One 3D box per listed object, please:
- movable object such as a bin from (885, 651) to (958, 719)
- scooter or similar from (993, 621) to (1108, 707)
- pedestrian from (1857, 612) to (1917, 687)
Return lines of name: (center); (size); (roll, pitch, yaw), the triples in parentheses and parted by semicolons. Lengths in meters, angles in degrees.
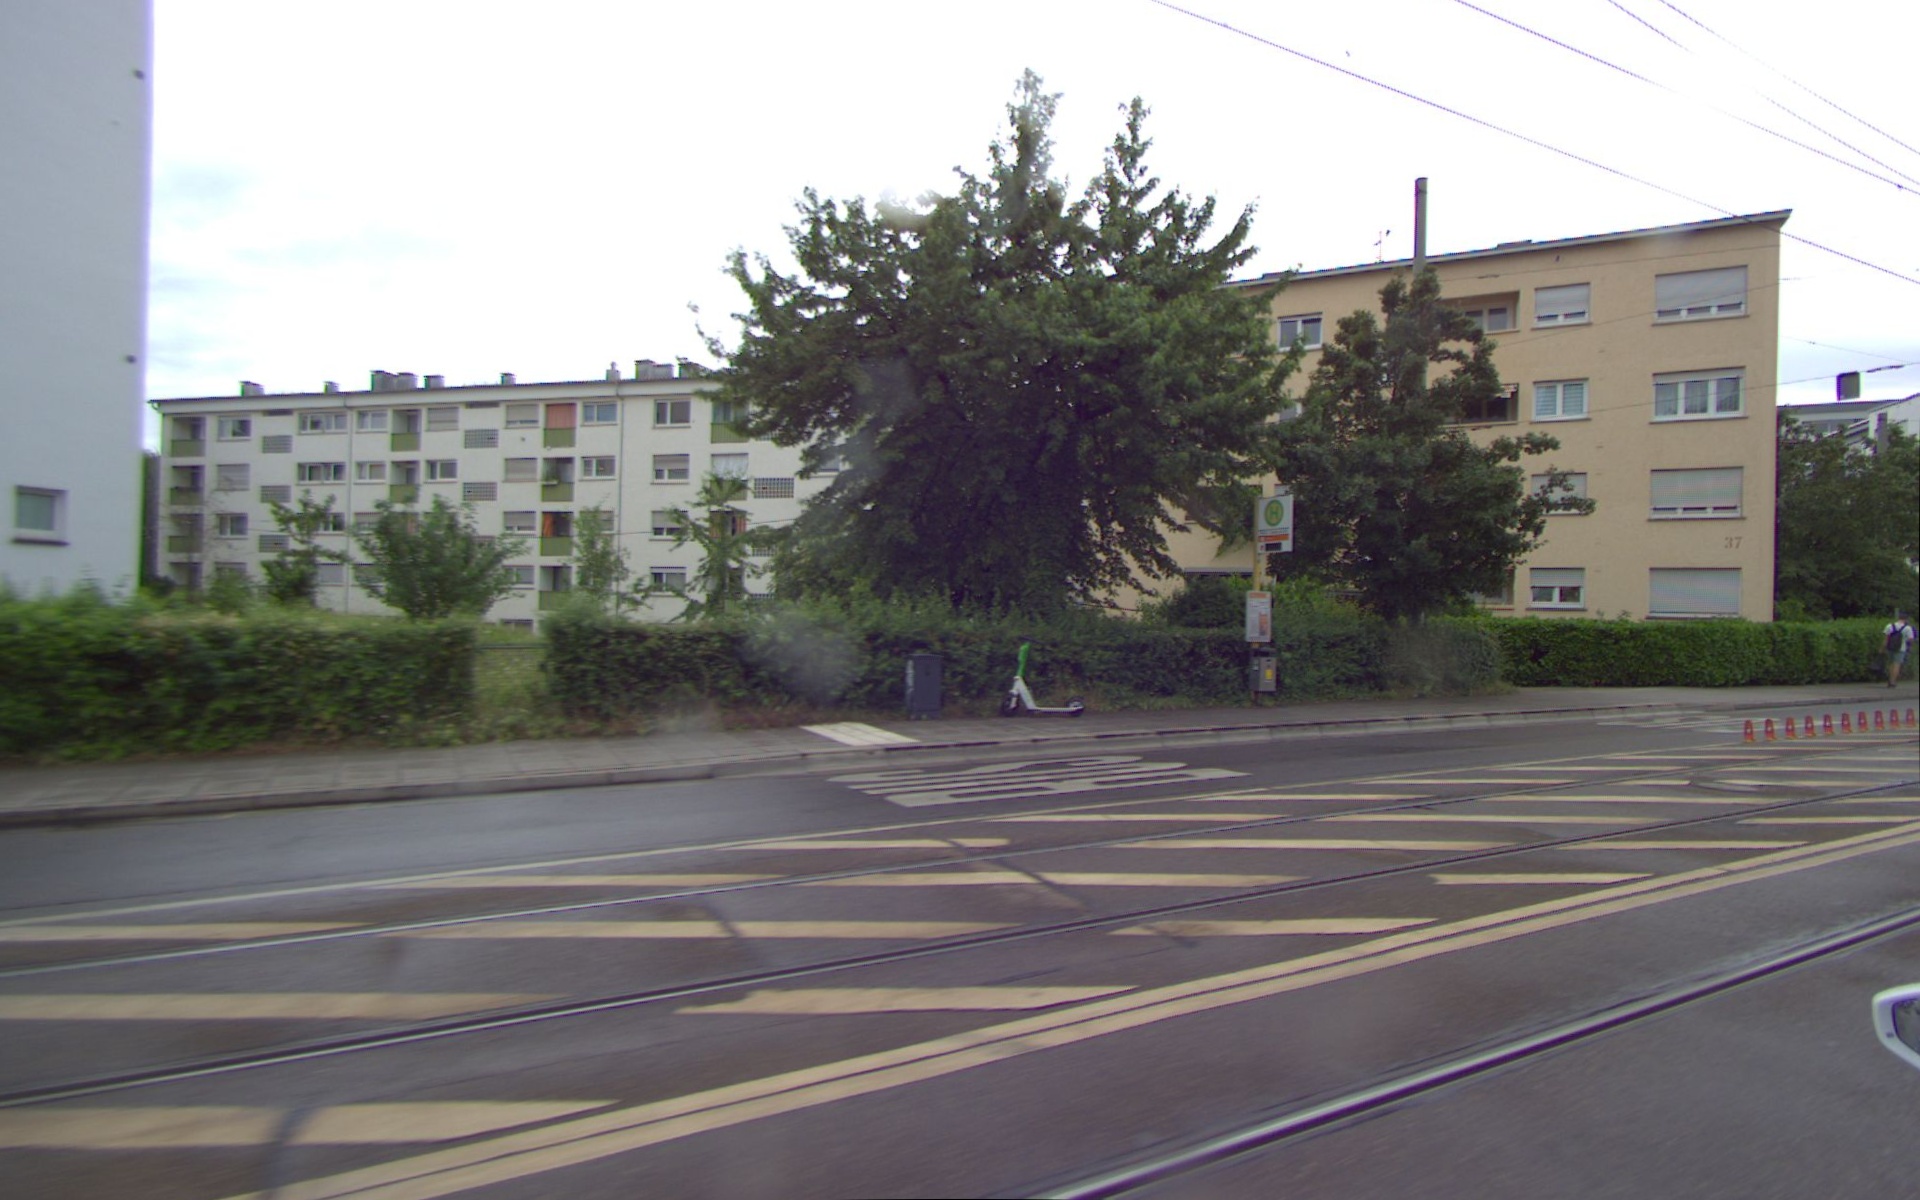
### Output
movable object such as a bin: (-0.537, 1.174, 14.041); (0.753, 0.893, 0.682); (2, -1, -34)
scooter or similar: (1.332, 0.933, 14.763); (1.578, 1.200, 0.570); (2, -1, -26)
pedestrian: (24.168, 1.286, 26.190); (1.007, 1.870, 0.913); (2, 0, -34)
